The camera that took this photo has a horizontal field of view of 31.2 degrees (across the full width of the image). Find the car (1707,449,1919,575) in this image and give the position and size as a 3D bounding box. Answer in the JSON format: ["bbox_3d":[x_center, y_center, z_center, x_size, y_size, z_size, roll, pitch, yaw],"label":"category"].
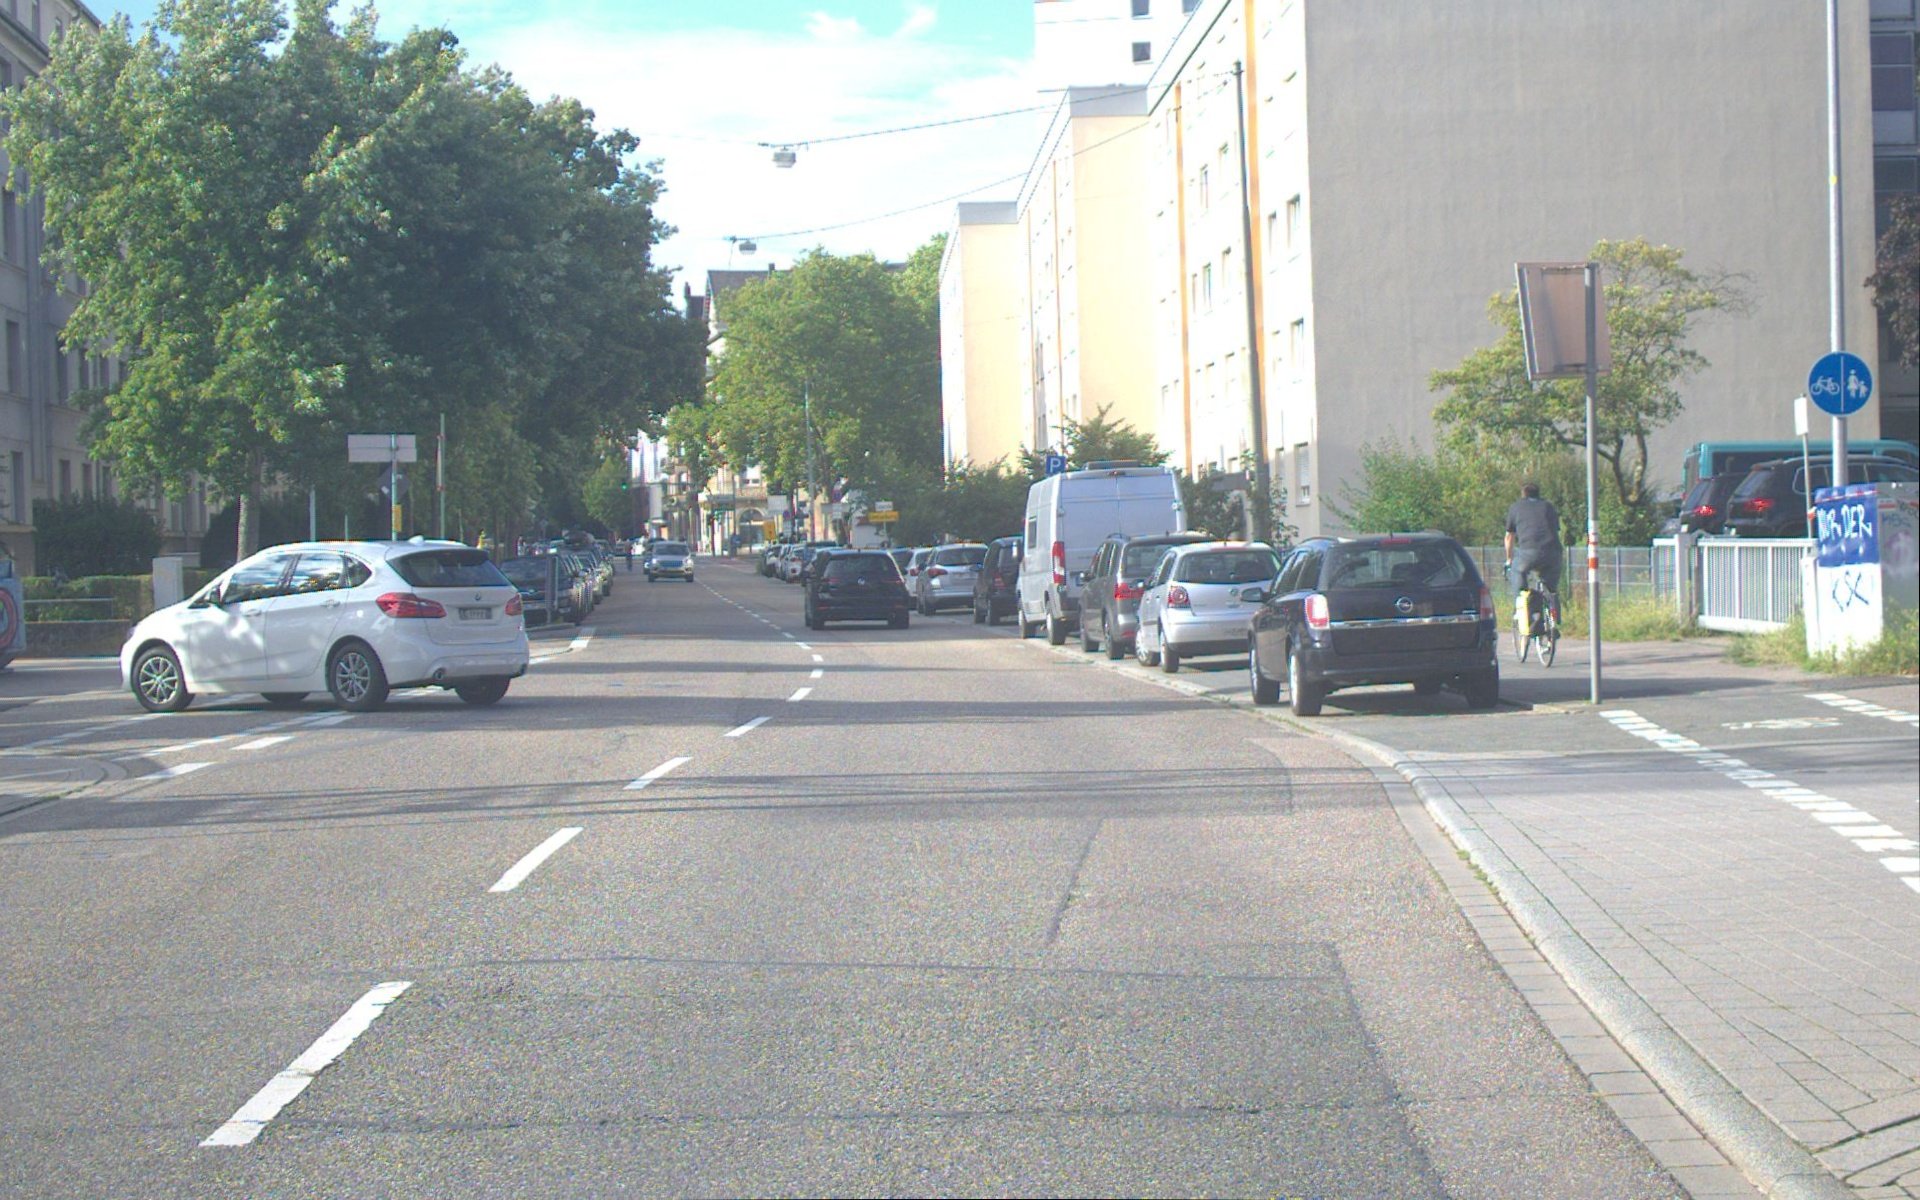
[{"bbox_3d":[12.794,-1.252,47.628,4.448,1.616,2.000,-2,1,2],"label":"car"}]

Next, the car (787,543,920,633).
[{"bbox_3d":[-1.972,-0.240,62.337,1.993,1.565,4.001,-1,1,-8],"label":"car"}]

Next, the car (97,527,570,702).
[{"bbox_3d":[-5.955,0.121,32.520,4.269,1.549,1.996,0,1,36],"label":"car"}]

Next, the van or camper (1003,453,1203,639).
[{"bbox_3d":[2.104,-0.831,52.282,2.209,2.598,5.373,-2,1,-6],"label":"van or camper"}]

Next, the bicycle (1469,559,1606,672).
[{"bbox_3d":[5.744,0.133,34.378,0.740,1.031,2.762,-4,1,-2],"label":"bicycle"}]

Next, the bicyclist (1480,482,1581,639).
[{"bbox_3d":[5.704,-0.392,34.393,0.737,1.508,0.875,-4,1,-2],"label":"bicyclist"}]

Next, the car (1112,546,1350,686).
[{"bbox_3d":[3.137,0.165,40.793,2.015,1.470,4.803,-3,1,-4],"label":"car"}]

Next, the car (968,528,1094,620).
[{"bbox_3d":[1.271,-0.505,63.202,1.993,1.568,4.001,-2,1,-3],"label":"car"}]

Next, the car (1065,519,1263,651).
[{"bbox_3d":[2.686,-0.228,46.267,1.993,1.610,4.409,-2,1,-5],"label":"car"}]

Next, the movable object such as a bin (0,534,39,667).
[{"bbox_3d":[-13.813,0.013,44.948,3.105,1.702,1.410,0,0,12],"label":"movable object such as a bin"}]

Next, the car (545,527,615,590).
[{"bbox_3d":[-12.670,-1.401,114.900,1.993,2.007,4.001,-2,1,-3],"label":"car"}]

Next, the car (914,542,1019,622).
[{"bbox_3d":[0.109,-0.408,73.736,1.993,1.568,4.001,-2,1,-3],"label":"car"}]

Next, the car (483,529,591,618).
[{"bbox_3d":[-8.421,-0.549,68.265,1.993,1.634,4.001,-2,1,-8],"label":"car"}]

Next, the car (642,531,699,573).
[{"bbox_3d":[-11.954,-1.986,141.998,2.055,1.658,3.927,-3,1,-8],"label":"car"}]

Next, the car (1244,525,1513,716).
[{"bbox_3d":[3.530,0.143,29.660,1.717,1.491,4.268,-1,1,-1],"label":"car"}]

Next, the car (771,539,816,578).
[{"bbox_3d":[-7.749,-1.932,160.360,1.993,1.749,4.000,0,1,-1],"label":"car"}]

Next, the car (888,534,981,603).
[{"bbox_3d":[-0.636,-0.759,81.538,1.993,1.525,4.001,-2,1,-3],"label":"car"}]

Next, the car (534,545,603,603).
[{"bbox_3d":[-11.242,-0.753,98.568,1.806,1.556,3.435,-3,1,-8],"label":"car"}]

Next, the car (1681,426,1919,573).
[{"bbox_3d":[13.842,-1.610,55.107,4.119,2.178,2.000,-2,1,2],"label":"car"}]

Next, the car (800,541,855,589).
[{"bbox_3d":[-5.009,-1.324,129.565,1.993,1.678,4.001,-2,1,-3],"label":"car"}]
